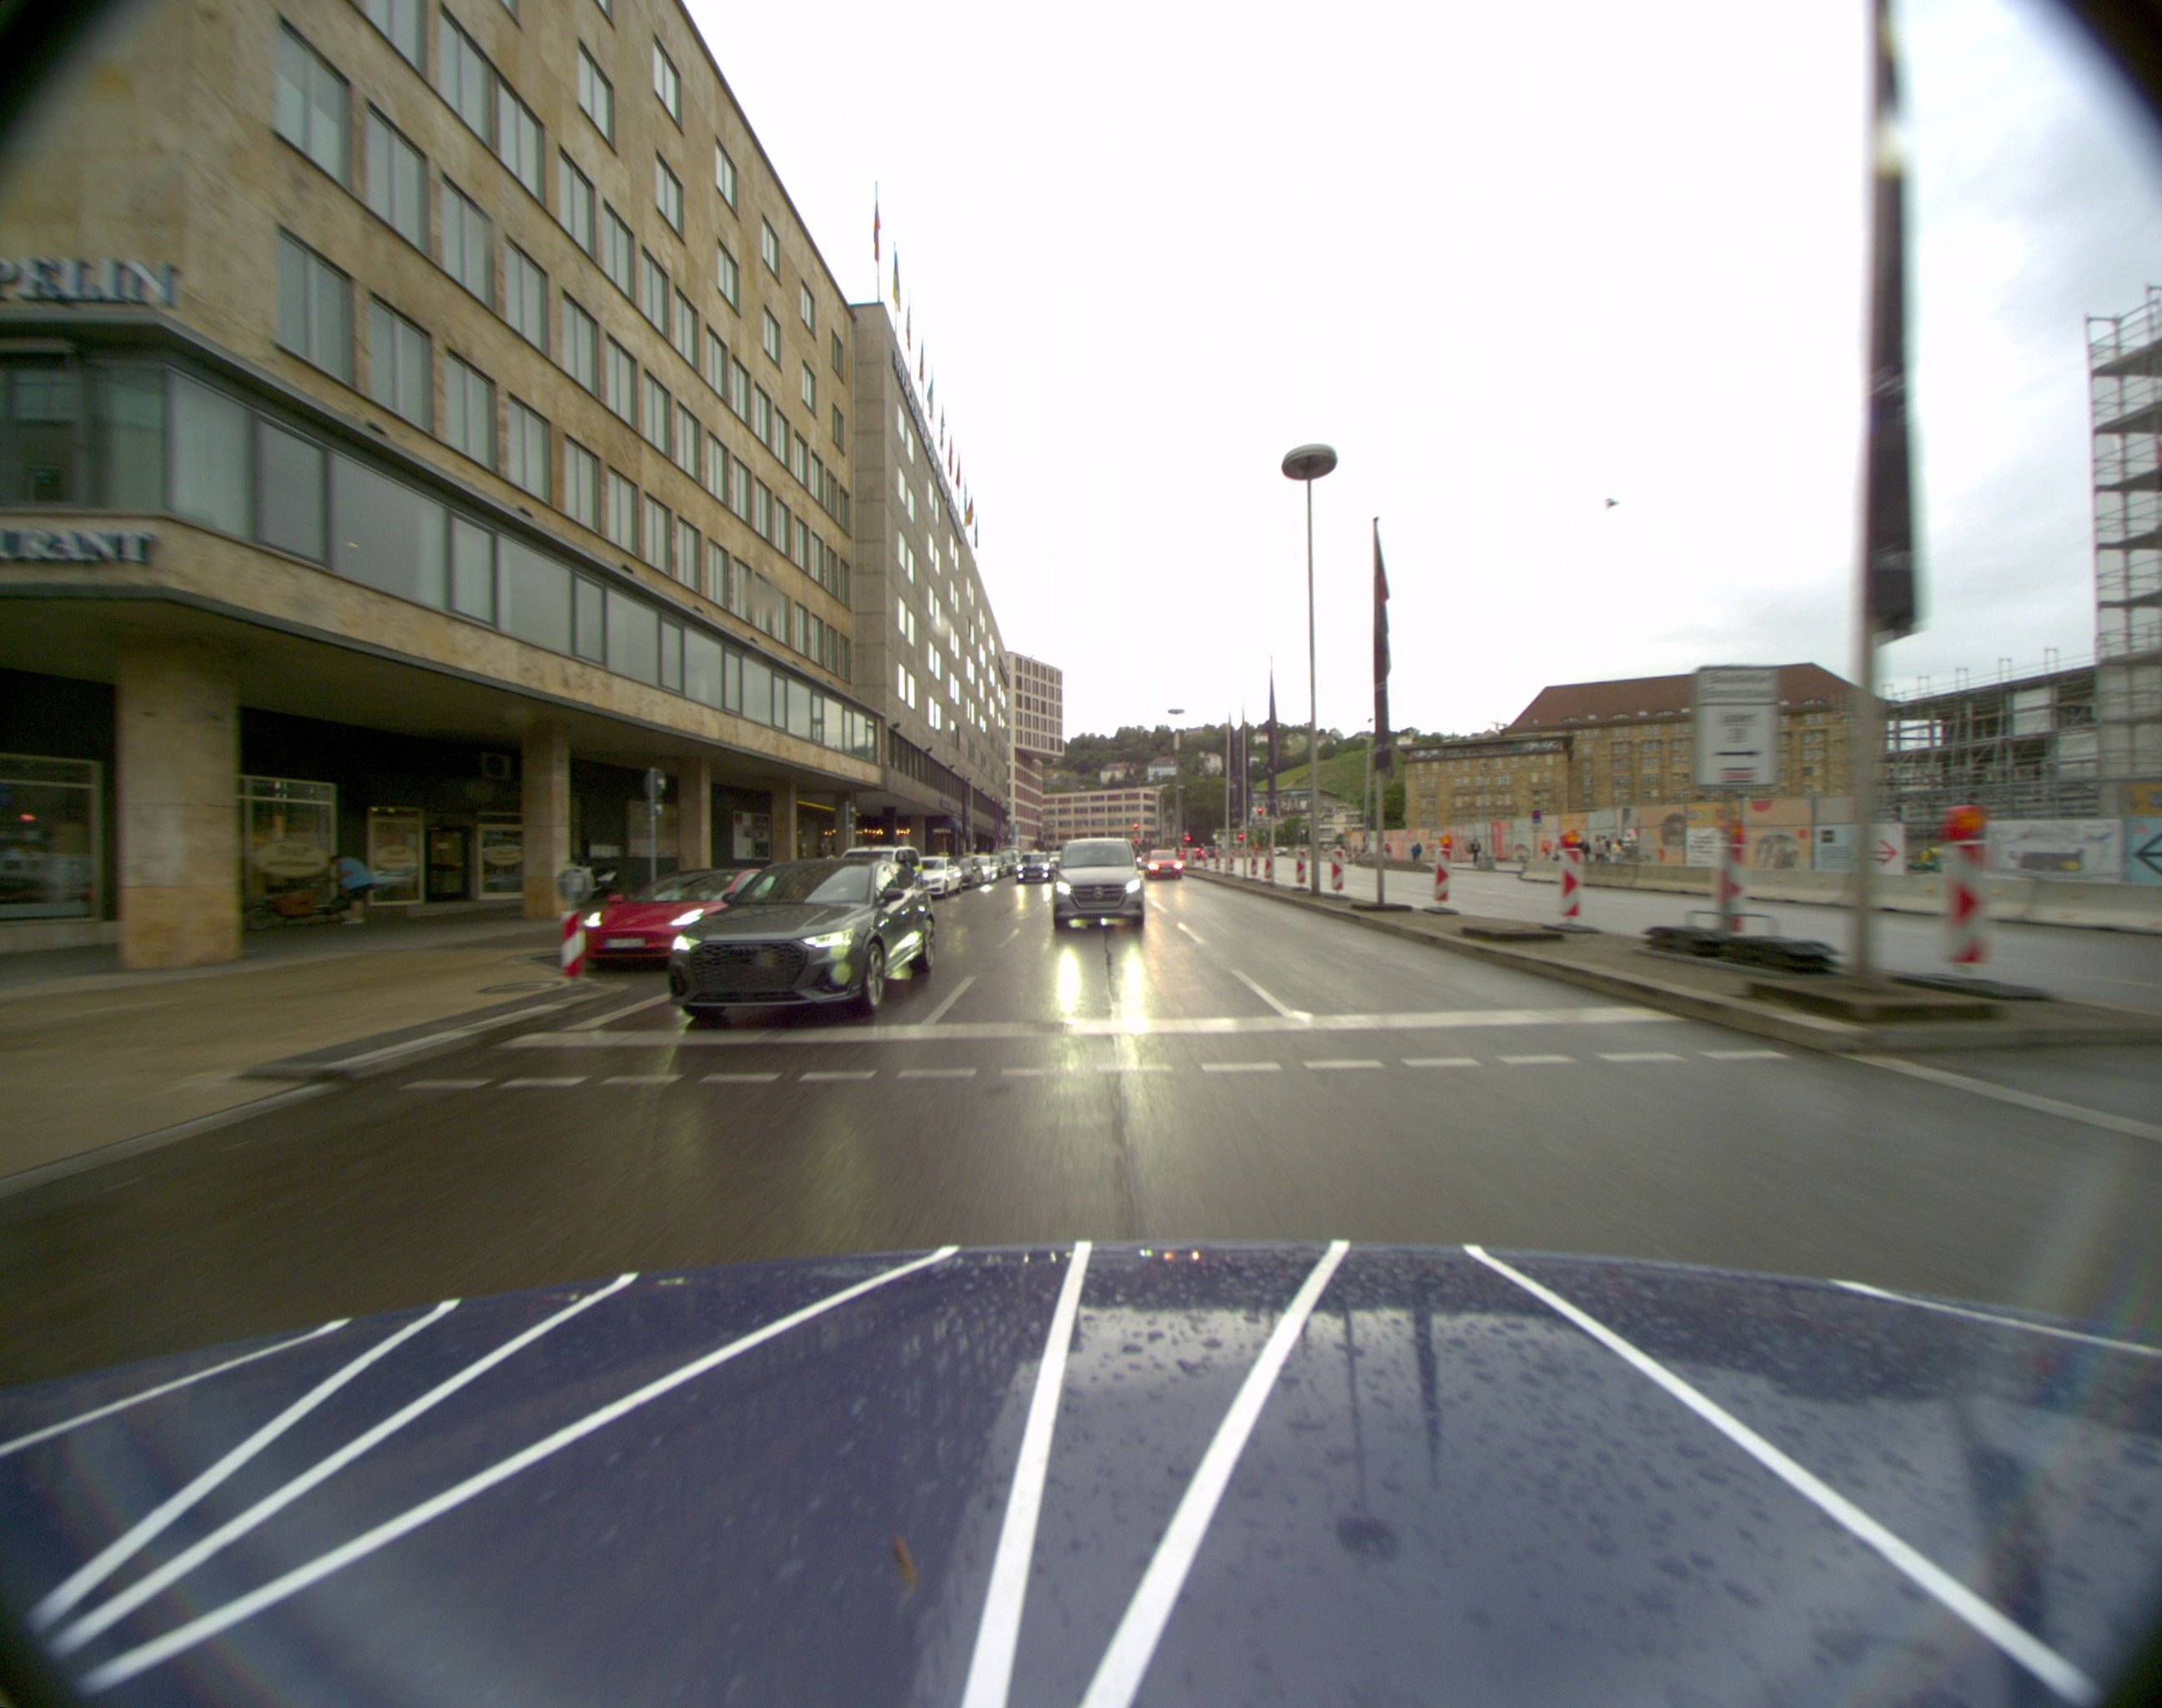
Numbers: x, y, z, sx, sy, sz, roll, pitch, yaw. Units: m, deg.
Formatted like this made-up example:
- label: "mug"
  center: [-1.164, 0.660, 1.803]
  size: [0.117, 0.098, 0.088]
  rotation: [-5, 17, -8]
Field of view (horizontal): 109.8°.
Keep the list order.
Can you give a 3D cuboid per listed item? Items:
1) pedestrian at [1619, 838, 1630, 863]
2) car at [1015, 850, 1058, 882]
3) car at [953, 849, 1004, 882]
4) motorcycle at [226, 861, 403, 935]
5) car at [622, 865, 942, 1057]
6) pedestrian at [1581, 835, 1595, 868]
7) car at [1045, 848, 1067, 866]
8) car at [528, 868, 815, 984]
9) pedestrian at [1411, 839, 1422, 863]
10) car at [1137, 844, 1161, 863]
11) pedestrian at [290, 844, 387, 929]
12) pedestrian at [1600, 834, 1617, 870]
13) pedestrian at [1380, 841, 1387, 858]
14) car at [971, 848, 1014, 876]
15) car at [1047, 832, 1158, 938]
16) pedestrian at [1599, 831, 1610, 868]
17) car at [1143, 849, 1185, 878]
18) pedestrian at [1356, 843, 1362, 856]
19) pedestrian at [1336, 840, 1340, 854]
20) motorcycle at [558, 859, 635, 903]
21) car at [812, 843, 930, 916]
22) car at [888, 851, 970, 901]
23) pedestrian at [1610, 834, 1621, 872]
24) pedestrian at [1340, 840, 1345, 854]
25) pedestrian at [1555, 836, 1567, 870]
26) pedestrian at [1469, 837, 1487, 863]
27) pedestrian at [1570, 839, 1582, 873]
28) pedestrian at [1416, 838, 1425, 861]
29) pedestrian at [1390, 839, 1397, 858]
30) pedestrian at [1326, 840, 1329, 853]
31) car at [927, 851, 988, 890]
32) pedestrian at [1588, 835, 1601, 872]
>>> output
- label: "pedestrian"
  center: [25.619, -0.168, 35.789]
  size: [0.255, 1.187, 0.390]
  rotation: [-2, 1, 6]
- label: "car"
  center: [-2.293, 0.571, 40.005]
  size: [1.998, 1.549, 3.908]
  rotation: [-1, 1, 1]
- label: "car"
  center: [-5.443, 0.556, 40.791]
  size: [1.998, 1.600, 4.875]
  rotation: [-1, 1, 1]
- label: "motorcycle"
  center: [-16.806, 0.911, 16.830]
  size: [0.964, 1.444, 2.850]
  rotation: [-1, 1, 1]
- label: "car"
  center: [-2.910, 0.941, 8.521]
  size: [1.876, 1.499, 4.164]
  rotation: [-1, 1, 1]
- label: "pedestrian"
  center: [24.765, -0.134, 37.100]
  size: [0.400, 1.611, 0.365]
  rotation: [-2, 1, 5]
- label: "car"
  center: [-2.234, 0.245, 68.863]
  size: [1.763, 1.582, 3.842]
  rotation: [-2, 1, 1]
- label: "car"
  center: [-6.261, 1.006, 12.407]
  size: [2.194, 1.405, 4.482]
  rotation: [-1, 1, 1]
- label: "pedestrian"
  center: [28.542, -0.269, 64.583]
  size: [0.593, 2.022, 0.686]
  rotation: [-1, 1, 1]
- label: "car"
  center: [5.657, -0.059, 63.518]
  size: [1.672, 1.513, 3.724]
  rotation: [-2, 1, 1]
- label: "pedestrian"
  center: [-16.415, 0.690, 16.828]
  size: [1.000, 1.836, 1.109]
  rotation: [0, 1, 2]
- label: "pedestrian"
  center: [26.224, -0.097, 37.756]
  size: [0.517, 1.745, 0.463]
  rotation: [-2, 1, 1]
- label: "pedestrian"
  center: [27.978, -0.422, 70.348]
  size: [0.438, 1.606, 0.413]
  rotation: [-1, 1, 1]
- label: "car"
  center: [-5.343, 0.466, 46.583]
  size: [1.998, 1.605, 4.918]
  rotation: [-1, 1, 1]
- label: "car"
  center: [0.294, 0.568, 16.862]
  size: [1.999, 1.893, 5.249]
  rotation: [-2, 1, -3]
- label: "pedestrian"
  center: [24.954, -0.218, 36.220]
  size: [0.311, 1.759, 0.346]
  rotation: [-1, 1, 4]
- label: "car"
  center: [4.150, 0.424, 38.510]
  size: [1.747, 1.369, 4.000]
  rotation: [-1, 1, 1]
- label: "pedestrian"
  center: [29.748, -0.450, 81.249]
  size: [0.438, 1.407, 0.413]
  rotation: [-1, 1, 1]
- label: "pedestrian"
  center: [29.802, -0.819, 88.172]
  size: [0.375, 1.606, 0.357]
  rotation: [-1, 1, 1]
- label: "motorcycle"
  center: [-15.032, 0.807, 23.684]
  size: [0.730, 1.223, 2.536]
  rotation: [-1, 1, 1]
- label: "car"
  center: [-5.995, 0.650, 22.357]
  size: [1.998, 1.873, 4.996]
  rotation: [-1, 1, 1]
- label: "car"
  center: [-5.633, 0.749, 28.784]
  size: [1.998, 1.644, 5.134]
  rotation: [-1, 1, 1]
- label: "pedestrian"
  center: [25.327, -0.041, 36.003]
  size: [0.314, 1.760, 0.268]
  rotation: [-2, 1, 4]
- label: "pedestrian"
  center: [30.341, -0.847, 88.055]
  size: [0.387, 1.606, 0.413]
  rotation: [-1, 1, 1]
- label: "pedestrian"
  center: [24.989, -0.057, 39.517]
  size: [0.367, 1.759, 0.390]
  rotation: [-1, 1, 4]
- label: "pedestrian"
  center: [25.876, -0.272, 49.539]
  size: [0.807, 1.675, 0.617]
  rotation: [-1, 1, 4]
- label: "pedestrian"
  center: [23.786, 0.085, 36.480]
  size: [0.350, 1.606, 0.321]
  rotation: [-1, 1, 1]
- label: "pedestrian"
  center: [29.617, -0.389, 66.359]
  size: [0.542, 2.002, 0.490]
  rotation: [-2, 1, 1]
- label: "pedestrian"
  center: [27.013, -0.448, 65.693]
  size: [0.438, 1.606, 0.413]
  rotation: [-1, 1, 1]
- label: "pedestrian"
  center: [32.333, -1.000, 99.602]
  size: [0.334, 1.606, 0.323]
  rotation: [-1, 1, 1]
- label: "car"
  center: [-5.559, 0.689, 34.760]
  size: [1.998, 1.627, 4.559]
  rotation: [-1, 1, 1]
- label: "pedestrian"
  center: [24.574, -0.032, 36.389]
  size: [0.368, 1.759, 0.365]
  rotation: [-1, 1, 2]
